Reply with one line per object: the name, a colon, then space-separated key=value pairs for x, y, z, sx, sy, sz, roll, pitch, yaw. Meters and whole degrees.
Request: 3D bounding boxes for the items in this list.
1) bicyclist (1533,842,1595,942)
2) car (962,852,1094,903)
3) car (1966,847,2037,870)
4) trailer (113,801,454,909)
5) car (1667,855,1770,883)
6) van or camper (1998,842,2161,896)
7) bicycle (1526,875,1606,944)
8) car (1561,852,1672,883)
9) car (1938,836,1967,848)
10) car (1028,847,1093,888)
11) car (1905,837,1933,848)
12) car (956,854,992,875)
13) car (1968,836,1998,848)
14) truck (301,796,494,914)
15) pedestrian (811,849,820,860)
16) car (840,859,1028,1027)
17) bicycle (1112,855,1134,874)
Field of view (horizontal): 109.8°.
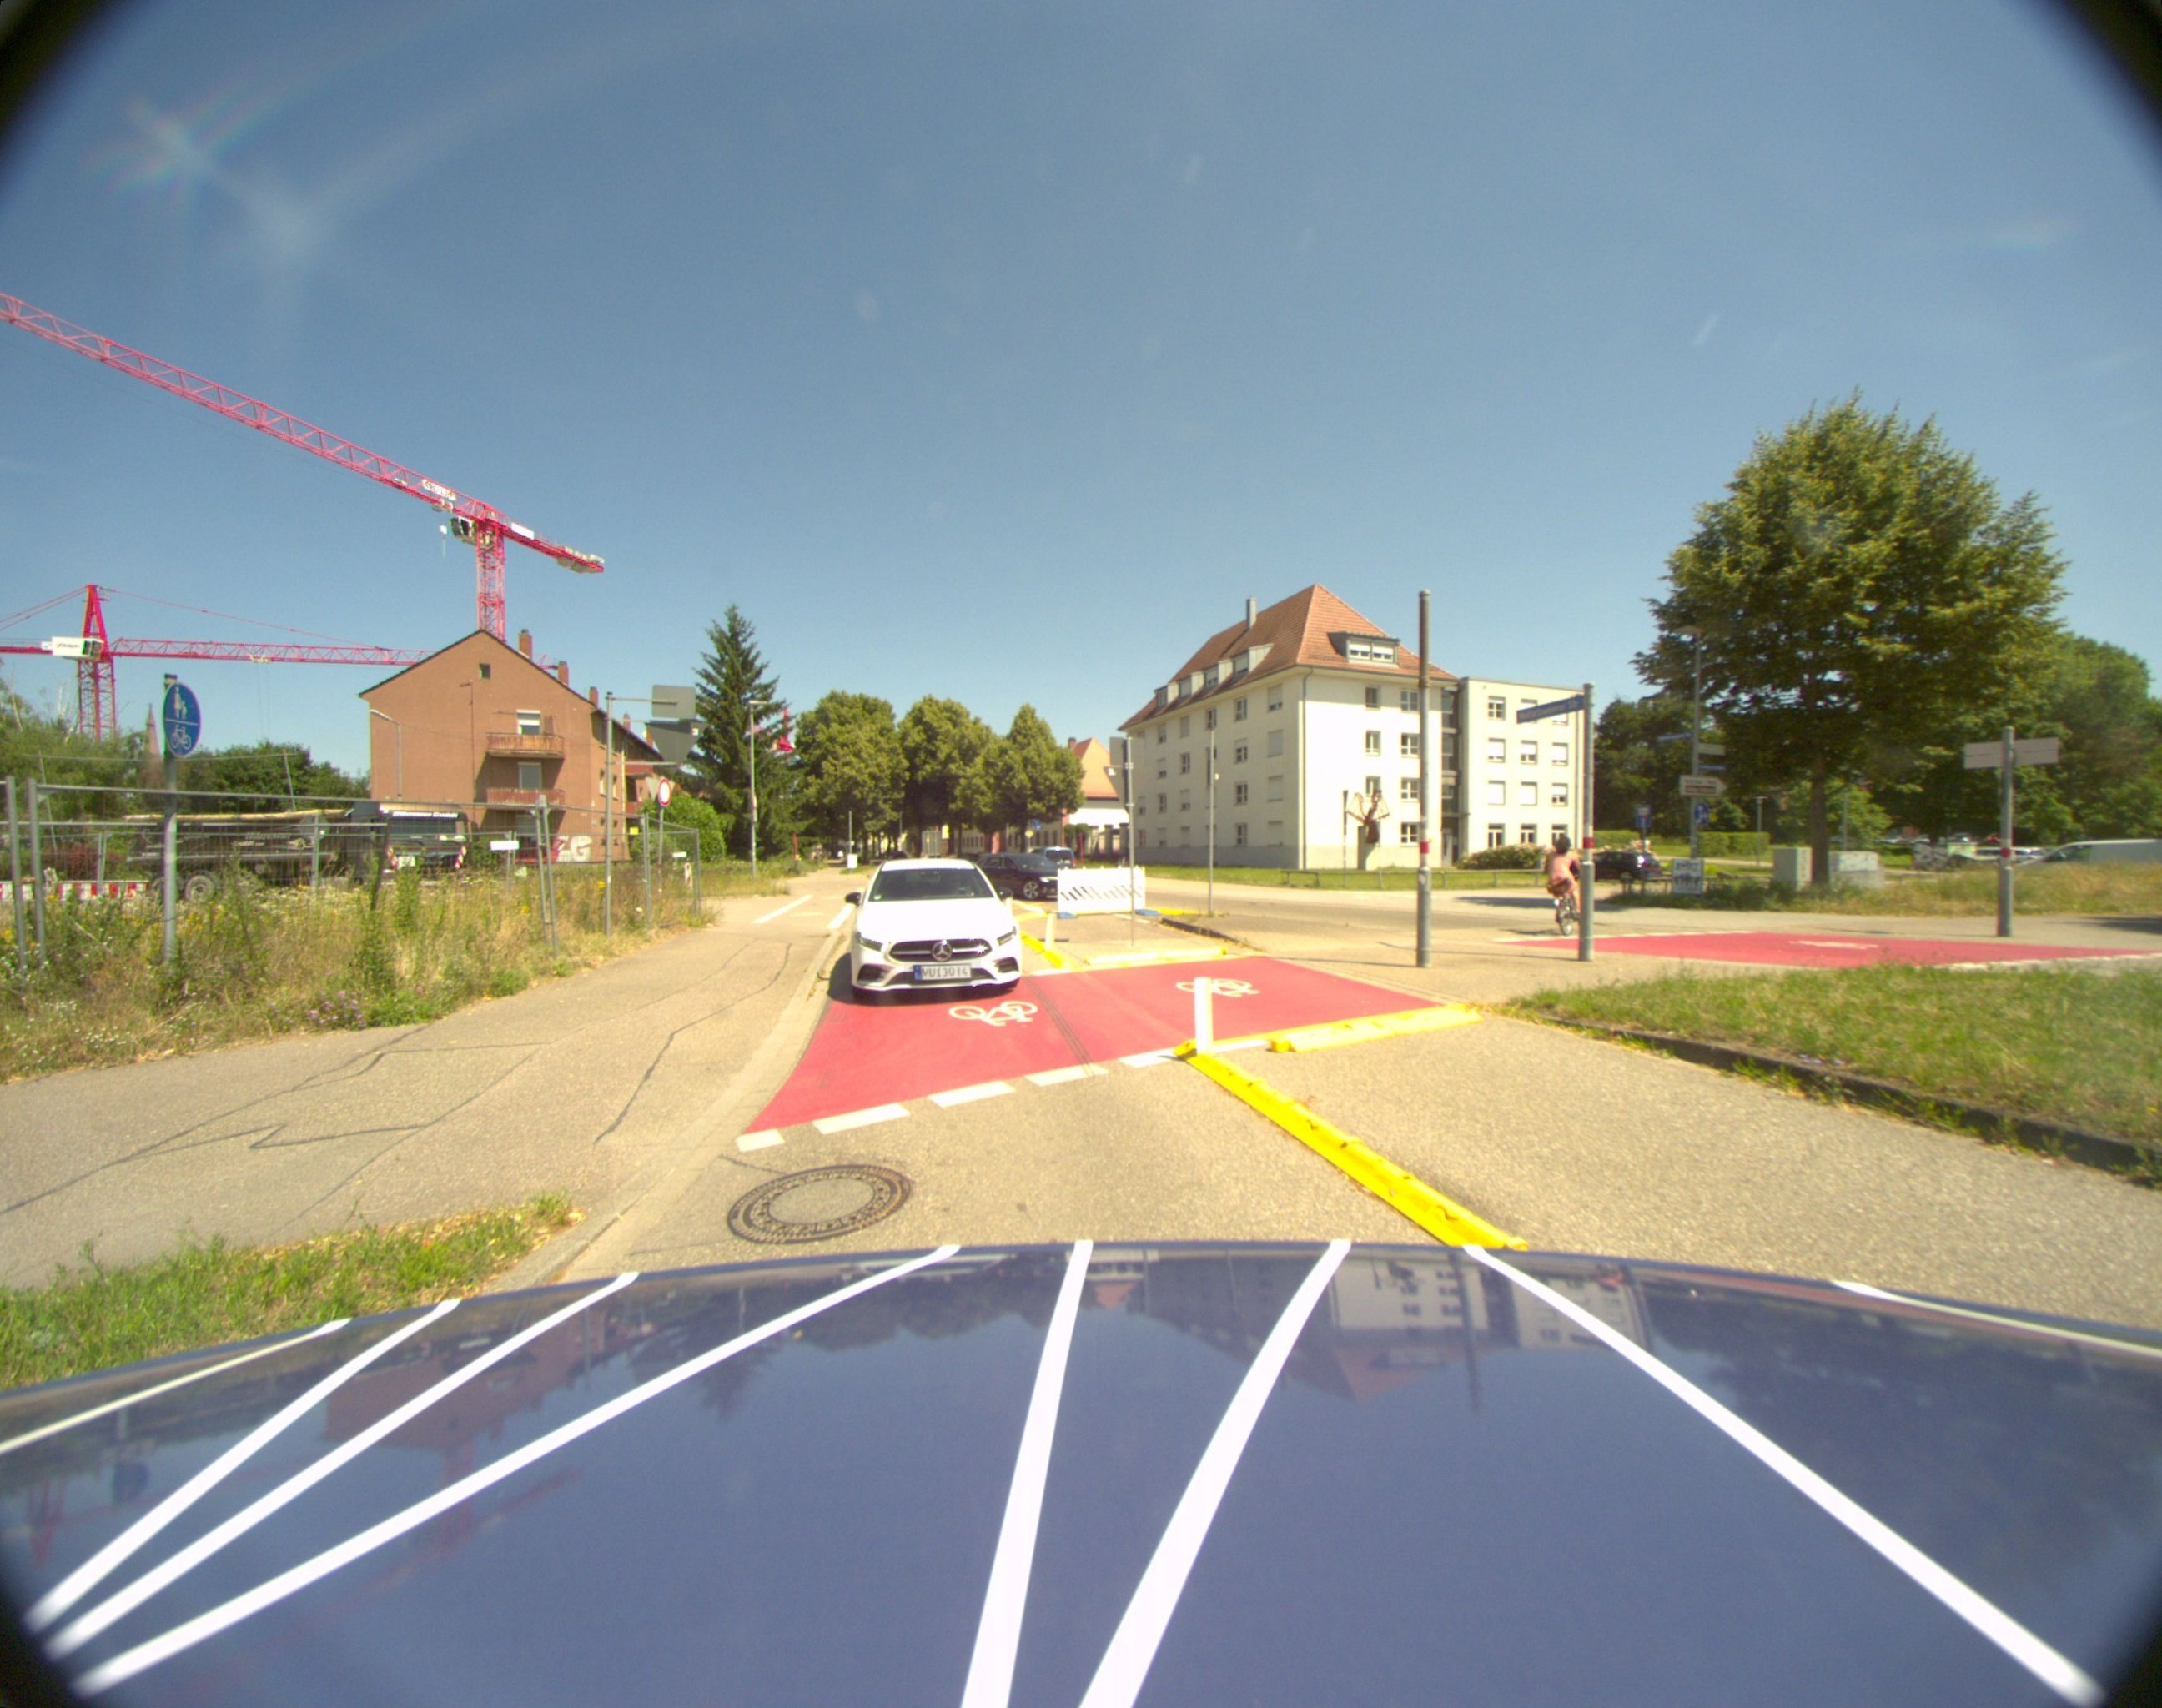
bicyclist: x=8.338 y=0.642 z=13.123 sx=0.711 sy=1.654 sz=0.644 roll=2 pitch=0 yaw=-37
car: x=-1.800 y=0.694 z=24.315 sx=1.805 sy=1.443 sz=4.605 roll=-2 pitch=1 yaw=-40
car: x=56.022 y=0.243 z=46.263 sx=1.084 sy=1.350 sz=2.526 roll=-1 pitch=1 yaw=-13
trailer: x=-27.629 y=0.052 z=26.602 sx=8.982 sy=3.512 sz=3.165 roll=0 pitch=1 yaw=4
car: x=29.997 y=0.661 z=35.875 sx=1.358 sy=1.210 sz=3.507 roll=-1 pitch=1 yaw=-20
van or camper: x=37.310 y=0.495 z=27.265 sx=2.002 sy=1.846 sz=5.263 roll=-1 pitch=1 yaw=-21
bicycle: x=8.448 y=0.927 z=13.202 sx=2.092 sy=1.052 sz=0.438 roll=-1 pitch=3 yaw=-37
car: x=24.067 y=0.568 z=34.305 sx=1.661 sy=1.319 sz=3.801 roll=-1 pitch=1 yaw=-20
car: x=103.842 y=-1.388 z=90.508 sx=3.031 sy=1.408 sz=1.476 roll=-1 pitch=1 yaw=-25
car: x=-1.018 y=0.589 z=35.277 sx=1.691 sy=1.759 sz=4.197 roll=-1 pitch=0 yaw=-21
car: x=102.921 y=-1.427 z=93.289 sx=3.031 sy=1.408 sz=1.476 roll=-1 pitch=1 yaw=-25
car: x=-7.629 y=0.691 z=53.788 sx=1.645 sy=1.374 sz=3.882 roll=-1 pitch=1 yaw=-22
car: x=104.737 y=-1.370 z=88.211 sx=3.031 sy=1.408 sz=1.476 roll=-1 pitch=1 yaw=-25
truck: x=-22.609 y=0.027 z=25.160 sx=4.951 sy=3.512 sz=3.170 roll=0 pitch=1 yaw=28
pedestrian: x=-37.162 y=0.075 z=106.386 sx=1.025 sy=1.509 sz=0.681 roll=-1 pitch=1 yaw=-14
car: x=-1.771 y=0.864 z=9.343 sx=1.782 sy=1.536 sz=3.959 roll=0 pitch=1 yaw=-11
bicycle: x=2.435 y=0.580 z=44.163 sx=0.710 sy=1.018 sz=1.982 roll=-3 pitch=2 yaw=-14
